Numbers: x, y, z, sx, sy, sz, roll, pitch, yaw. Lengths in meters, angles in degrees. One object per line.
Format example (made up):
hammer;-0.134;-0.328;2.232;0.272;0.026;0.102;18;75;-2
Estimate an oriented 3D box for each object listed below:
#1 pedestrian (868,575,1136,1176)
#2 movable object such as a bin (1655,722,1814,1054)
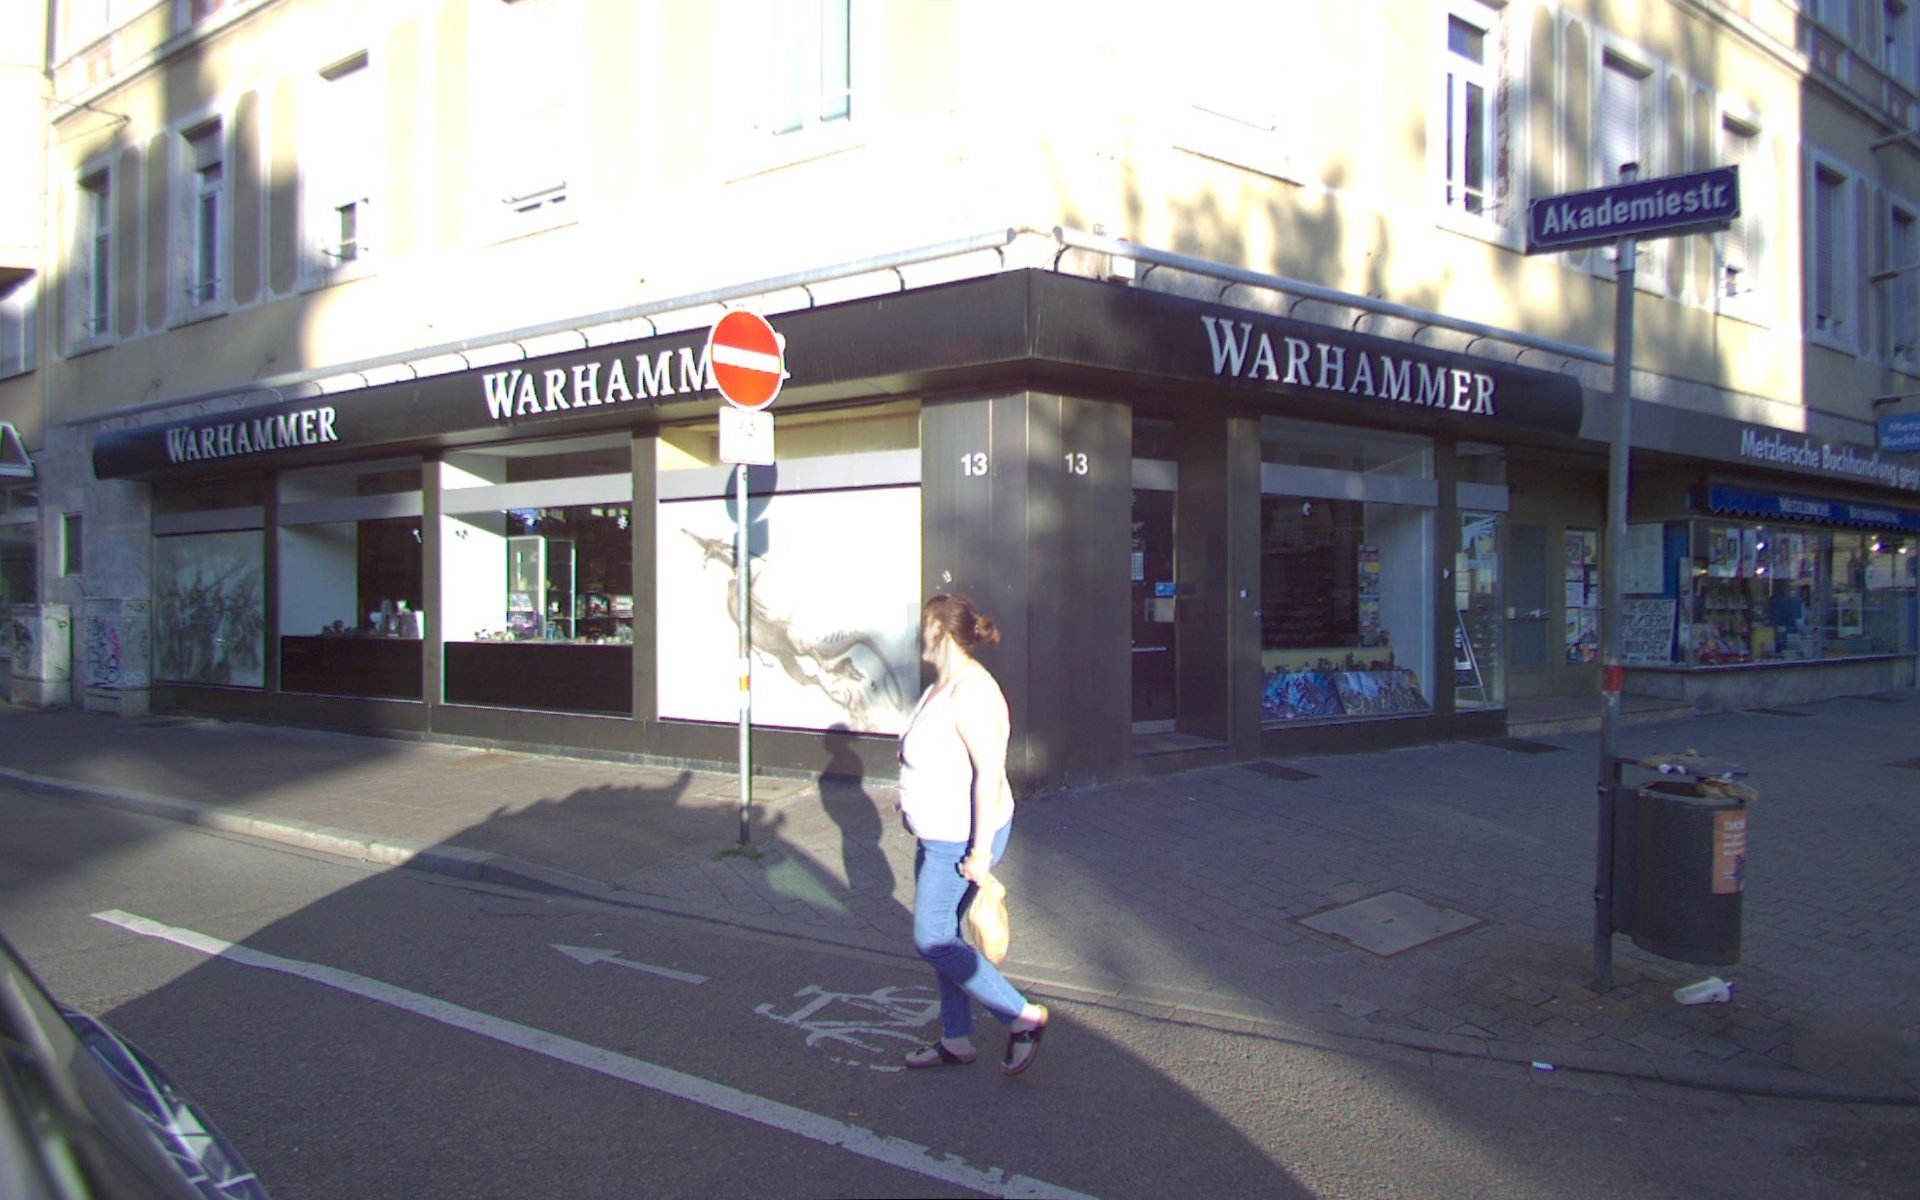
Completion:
pedestrian;0.109;0.744;3.144;0.724;1.625;0.805;0;0;0
movable object such as a bin;2.789;1.007;3.668;0.353;1.071;0.358;0;0;18
